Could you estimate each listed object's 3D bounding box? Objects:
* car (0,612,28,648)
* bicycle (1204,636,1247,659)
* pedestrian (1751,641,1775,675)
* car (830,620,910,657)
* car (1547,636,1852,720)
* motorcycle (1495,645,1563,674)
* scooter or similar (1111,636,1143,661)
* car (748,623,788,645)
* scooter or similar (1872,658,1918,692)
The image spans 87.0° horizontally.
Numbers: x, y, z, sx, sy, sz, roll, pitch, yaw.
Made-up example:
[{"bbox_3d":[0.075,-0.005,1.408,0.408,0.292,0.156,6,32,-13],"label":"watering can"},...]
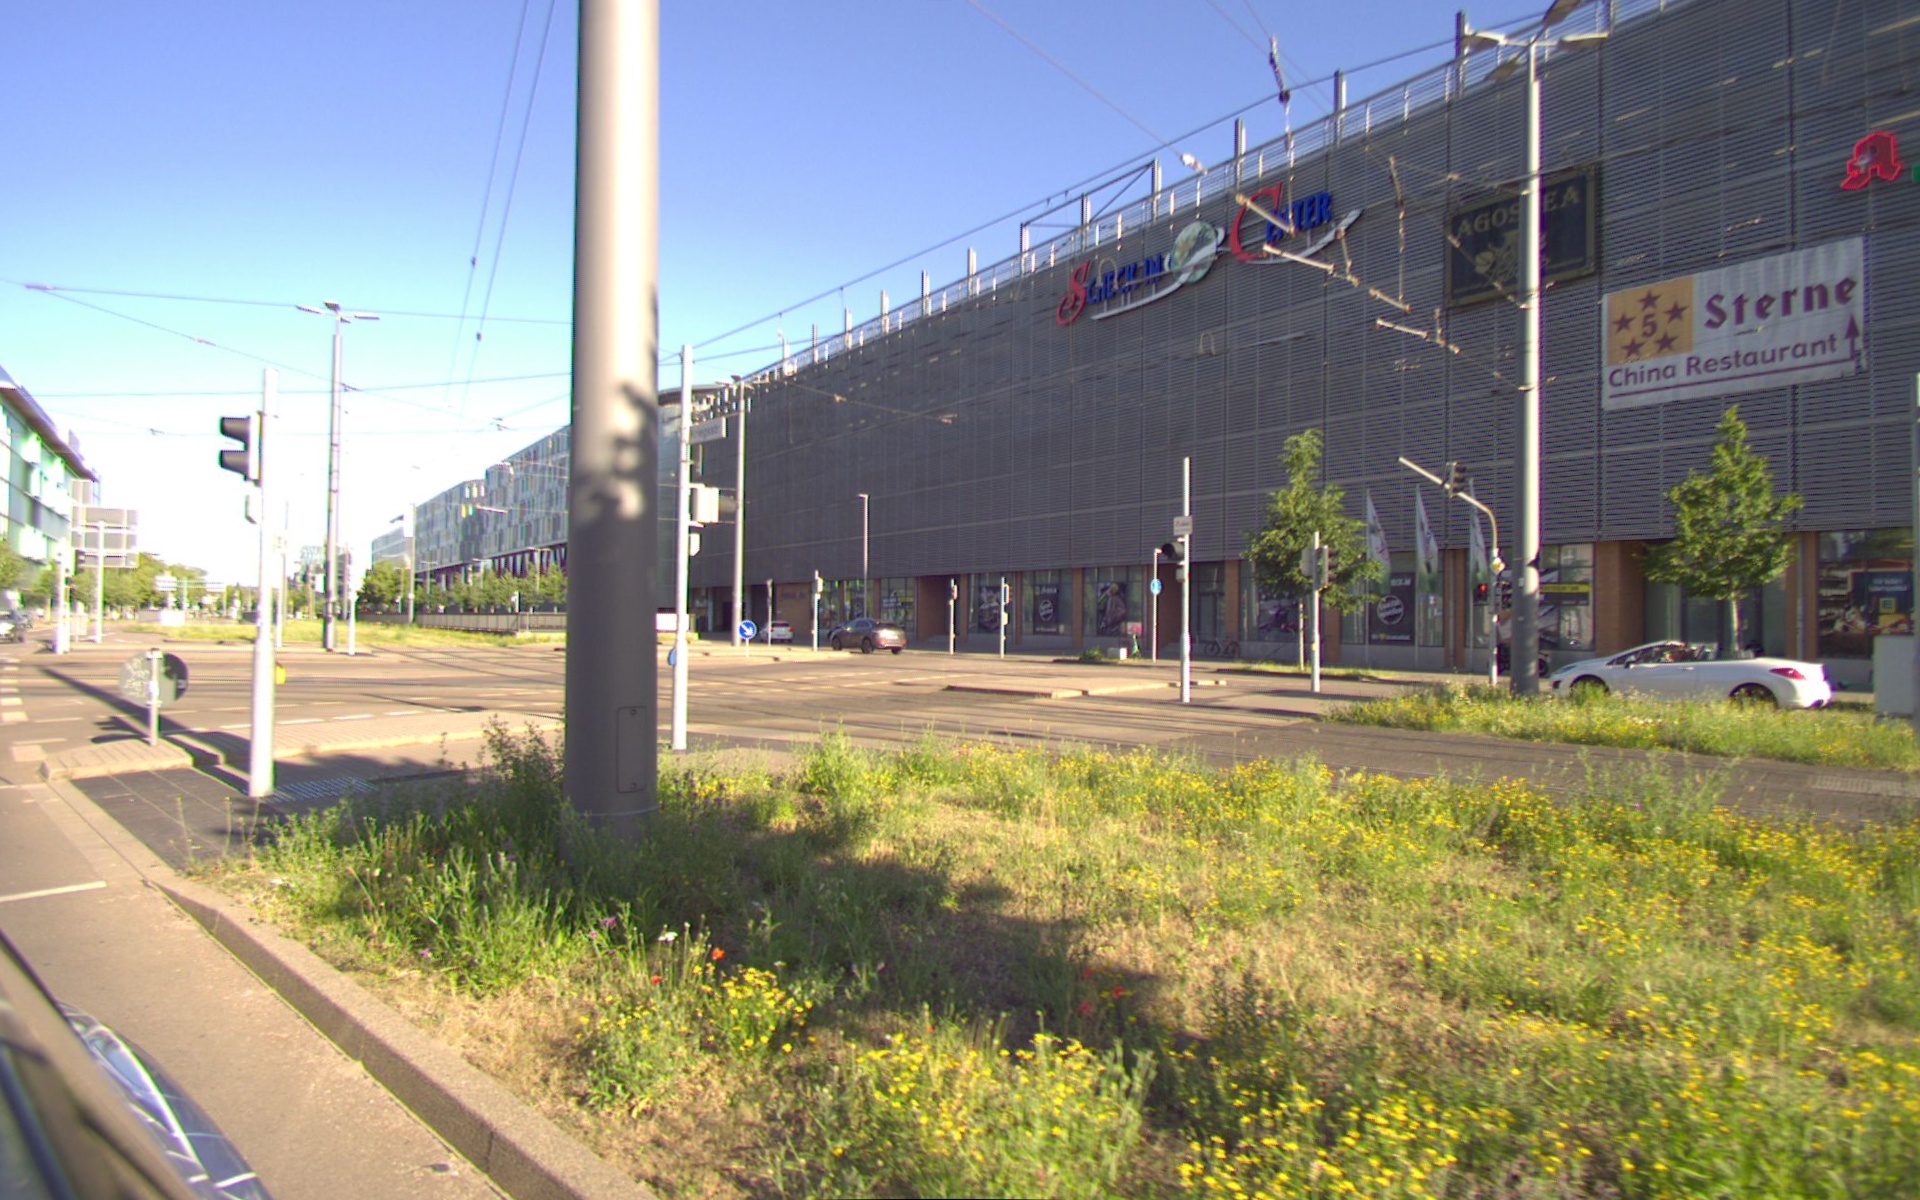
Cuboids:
[{"bbox_3d":[-39.828,1.210,41.850,1.595,1.440,3.774,2,-2,-39],"label":"car"},{"bbox_3d":[12.150,2.167,46.412,0.577,0.988,1.972,2,-2,-36],"label":"bicycle"},{"bbox_3d":[25.348,1.815,31.962,0.557,1.046,0.425,2,-2,-31],"label":"pedestrian"},{"bbox_3d":[-4.240,1.774,47.245,1.782,1.587,4.304,3,-2,-35],"label":"car"},{"bbox_3d":[13.917,1.403,19.270,1.784,1.338,4.411,3,-2,-41],"label":"car"},{"bbox_3d":[19.437,2.030,34.616,0.421,0.927,2.028,2,-2,-38],"label":"motorcycle"},{"bbox_3d":[7.197,2.085,43.724,1.362,1.050,0.430,0,-1,41],"label":"scooter or similar"},{"bbox_3d":[-12.739,2.230,67.042,1.663,1.382,3.602,1,-1,-26],"label":"car"},{"bbox_3d":[26.035,2.087,28.193,0.286,0.900,0.903,2,-2,-37],"label":"scooter or similar"}]
